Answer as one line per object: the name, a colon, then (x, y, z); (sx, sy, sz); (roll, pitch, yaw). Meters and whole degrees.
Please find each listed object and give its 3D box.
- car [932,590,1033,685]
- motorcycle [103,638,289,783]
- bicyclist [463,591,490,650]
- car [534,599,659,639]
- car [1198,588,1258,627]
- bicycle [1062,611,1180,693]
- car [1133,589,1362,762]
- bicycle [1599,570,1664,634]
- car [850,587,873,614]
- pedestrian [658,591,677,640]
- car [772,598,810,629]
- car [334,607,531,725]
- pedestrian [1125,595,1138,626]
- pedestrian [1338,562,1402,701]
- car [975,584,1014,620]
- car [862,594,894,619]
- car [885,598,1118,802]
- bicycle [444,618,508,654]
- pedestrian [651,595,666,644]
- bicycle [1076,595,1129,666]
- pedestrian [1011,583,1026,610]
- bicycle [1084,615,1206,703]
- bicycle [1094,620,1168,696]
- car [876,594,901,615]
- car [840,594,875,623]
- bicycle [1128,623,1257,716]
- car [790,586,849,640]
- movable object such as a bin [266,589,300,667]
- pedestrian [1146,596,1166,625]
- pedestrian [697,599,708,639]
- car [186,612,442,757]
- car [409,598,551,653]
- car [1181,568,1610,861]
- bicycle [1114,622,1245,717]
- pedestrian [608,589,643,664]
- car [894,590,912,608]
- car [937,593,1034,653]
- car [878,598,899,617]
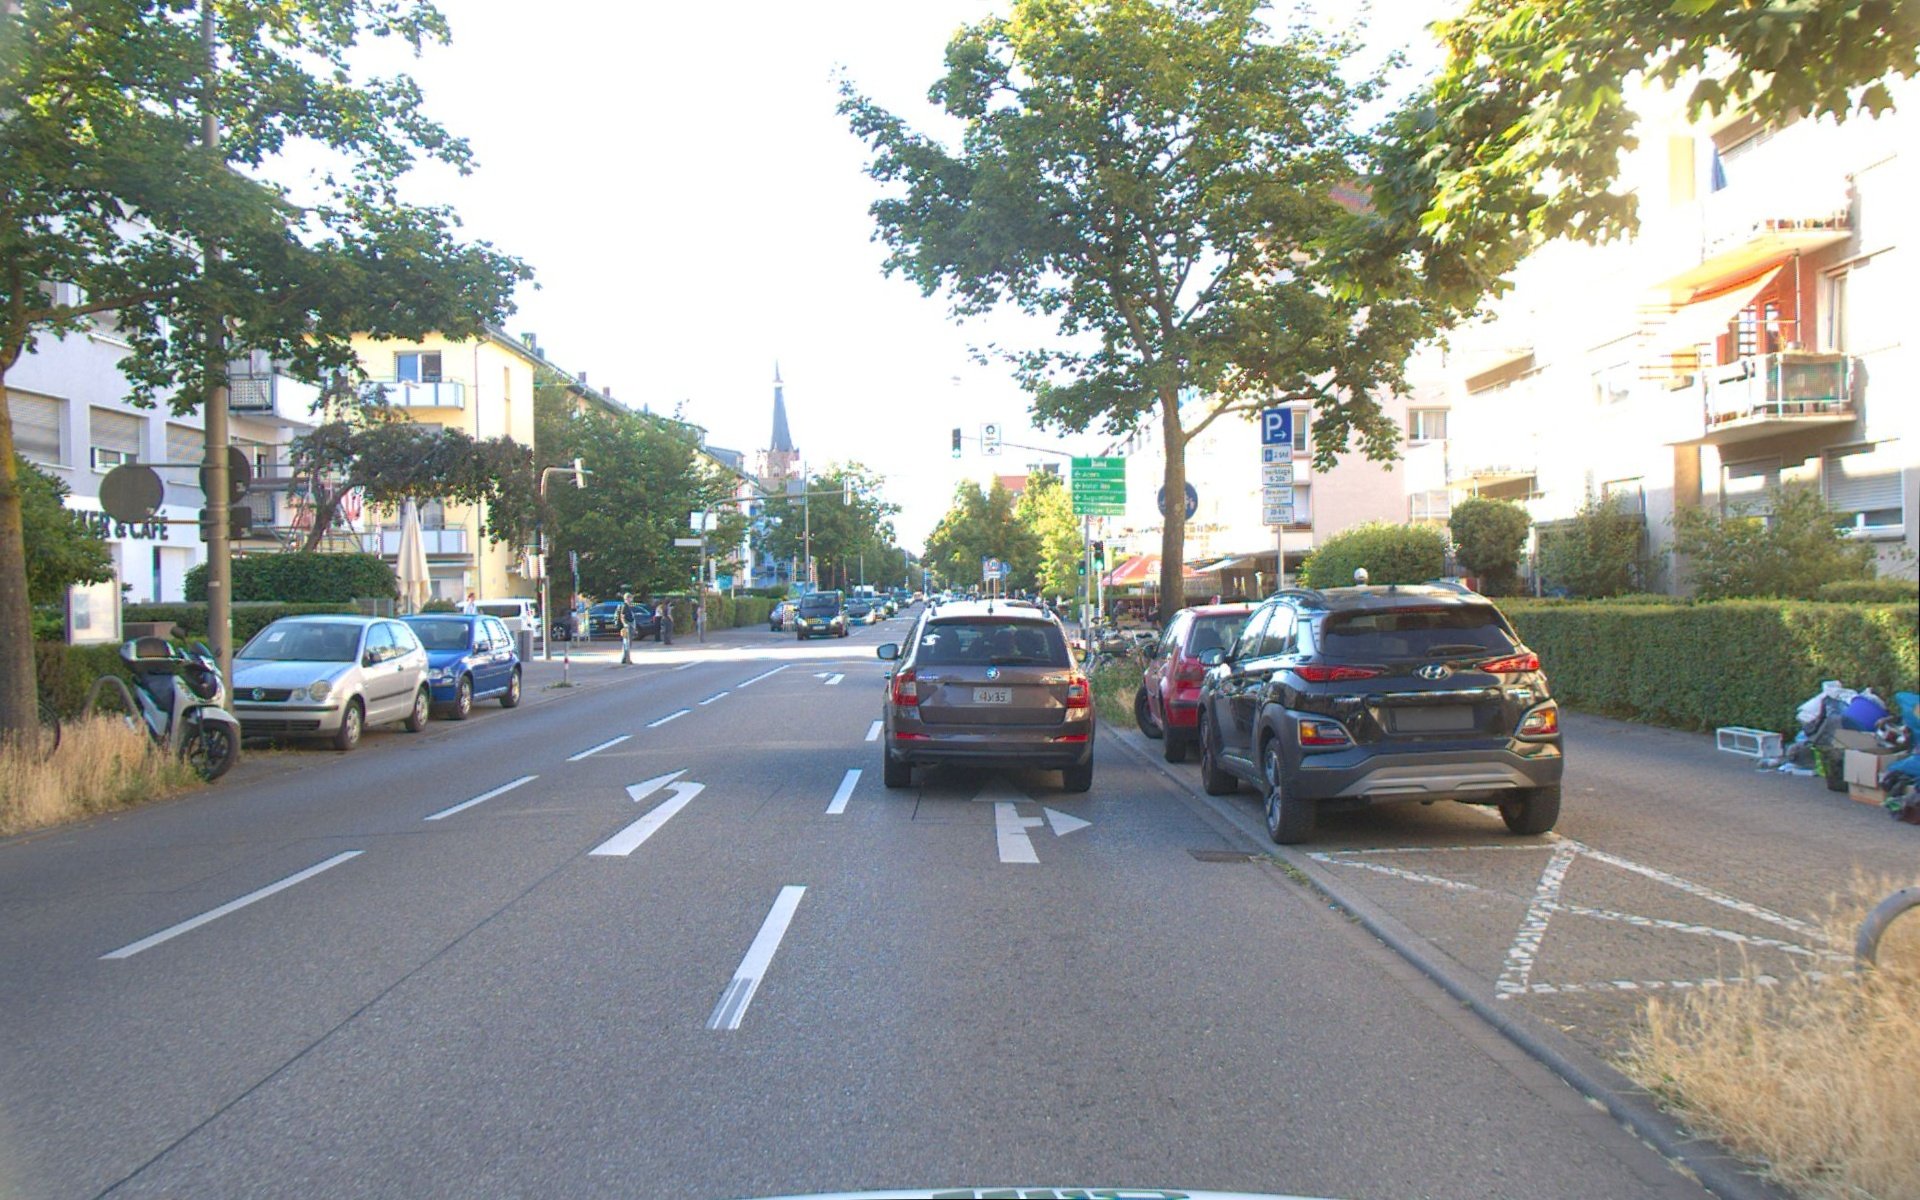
car: (0.387, 0.642, 30.282); (1.701, 1.598, 4.000); (1, 0, 0)
motorcycle: (-7.375, 1.030, 15.931); (2.014, 1.287, 0.764); (-1, 0, 38)
bicyclist: (-15.369, 0.643, 52.595); (0.725, 1.855, 0.652); (-1, 0, -10)
car: (-14.425, 0.751, 65.808); (4.540, 1.562, 1.861); (0, 0, -1)
car: (10.752, 0.294, 66.485); (1.739, 1.512, 4.000); (-1, 0, 0)
bicycle: (2.586, 0.829, 26.553); (1.796, 1.178, 0.684); (-4, 0, 5)
car: (2.792, 0.673, 16.886); (1.668, 1.475, 4.014); (-3, 0, 1)
bicycle: (13.131, 0.042, 32.394); (0.512, 1.204, 1.796); (-1, 0, 0)
car: (-9.462, 0.007, 158.554); (1.953, 2.521, 3.999); (-1, 0, -1)
pedestrian: (-11.134, 0.595, 62.919); (0.603, 1.828, 0.504); (-1, 0, 0)
car: (-8.357, 0.662, 82.003); (1.491, 1.482, 3.584); (-1, 0, -1)
car: (-7.611, 0.895, 24.266); (1.615, 1.544, 4.073); (0, 0, -1)
pedestrian: (7.490, 0.449, 72.235); (0.489, 1.325, 0.506); (-1, 0, -4)
pedestrian: (5.440, 0.411, 21.975); (0.648, 1.779, 0.773); (-3, 0, 5)
car: (1.825, 0.111, 86.445); (1.952, 1.803, 4.001); (1, 0, 2)
car: (-5.632, 0.440, 113.819); (1.953, 1.639, 4.000); (-1, 0, 0)
car: (0.262, 0.743, 14.482); (1.737, 1.515, 4.310); (0, 0, -1)
bicycle: (-15.381, 1.133, 52.578); (1.865, 1.090, 0.717); (-1, 0, -10)
pedestrian: (-11.531, 0.747, 63.310); (0.440, 1.828, 0.504); (-1, 0, 0)
bicycle: (2.467, 0.530, 28.855); (0.492, 1.167, 1.956); (-3, 0, -6)
pedestrian: (3.826, -0.211, 108.273); (0.661, 1.734, 0.800); (-1, 0, 25)
bicycle: (2.633, 0.835, 23.594); (1.651, 1.127, 0.517); (-4, 0, 5)
bicycle: (2.581, 0.854, 24.882); (0.606, 1.069, 1.572); (-1, 0, 25)
car: (-5.433, 0.341, 126.120); (1.751, 1.598, 4.000); (1, 0, 0)
car: (-5.894, 0.456, 95.784); (1.793, 1.607, 3.999); (-1, 0, -1)
bicycle: (2.919, 0.868, 20.836); (1.538, 1.123, 0.501); (-1, 0, 0)
car: (-5.588, 0.497, 66.212); (1.953, 1.942, 4.962); (-3, 0, -1)
movable object such as a bin: (-12.783, 0.532, 31.233); (0.384, 1.452, 0.575); (-1, 0, -2)
pedestrian: (8.467, 0.450, 71.438); (0.714, 1.219, 0.855); (-1, 0, 0)
pedestrian: (-10.001, 0.728, 64.350); (0.294, 1.530, 0.640); (-1, 0, 0)
car: (-7.553, 0.928, 19.703); (1.561, 1.496, 3.803); (1, 0, -1)
car: (-17.324, 0.915, 59.811); (4.540, 1.843, 1.861); (-1, 0, -1)
car: (2.804, 0.659, 11.618); (1.818, 1.609, 4.012); (-3, 0, -1)
bicycle: (2.680, 0.844, 20.263); (1.538, 1.123, 0.392); (-1, 0, 0)
pedestrian: (-9.133, 0.711, 45.198); (0.764, 2.022, 0.821); (-1, 0, 0)
car: (-6.568, -0.137, 190.305); (1.953, 2.049, 4.000); (-1, 0, -1)
car: (0.774, 0.635, 47.188); (1.762, 1.579, 4.003); (-1, 0, 16)
car: (-6.188, 0.620, 142.930); (1.669, 1.578, 4.002); (-1, 0, 0)
